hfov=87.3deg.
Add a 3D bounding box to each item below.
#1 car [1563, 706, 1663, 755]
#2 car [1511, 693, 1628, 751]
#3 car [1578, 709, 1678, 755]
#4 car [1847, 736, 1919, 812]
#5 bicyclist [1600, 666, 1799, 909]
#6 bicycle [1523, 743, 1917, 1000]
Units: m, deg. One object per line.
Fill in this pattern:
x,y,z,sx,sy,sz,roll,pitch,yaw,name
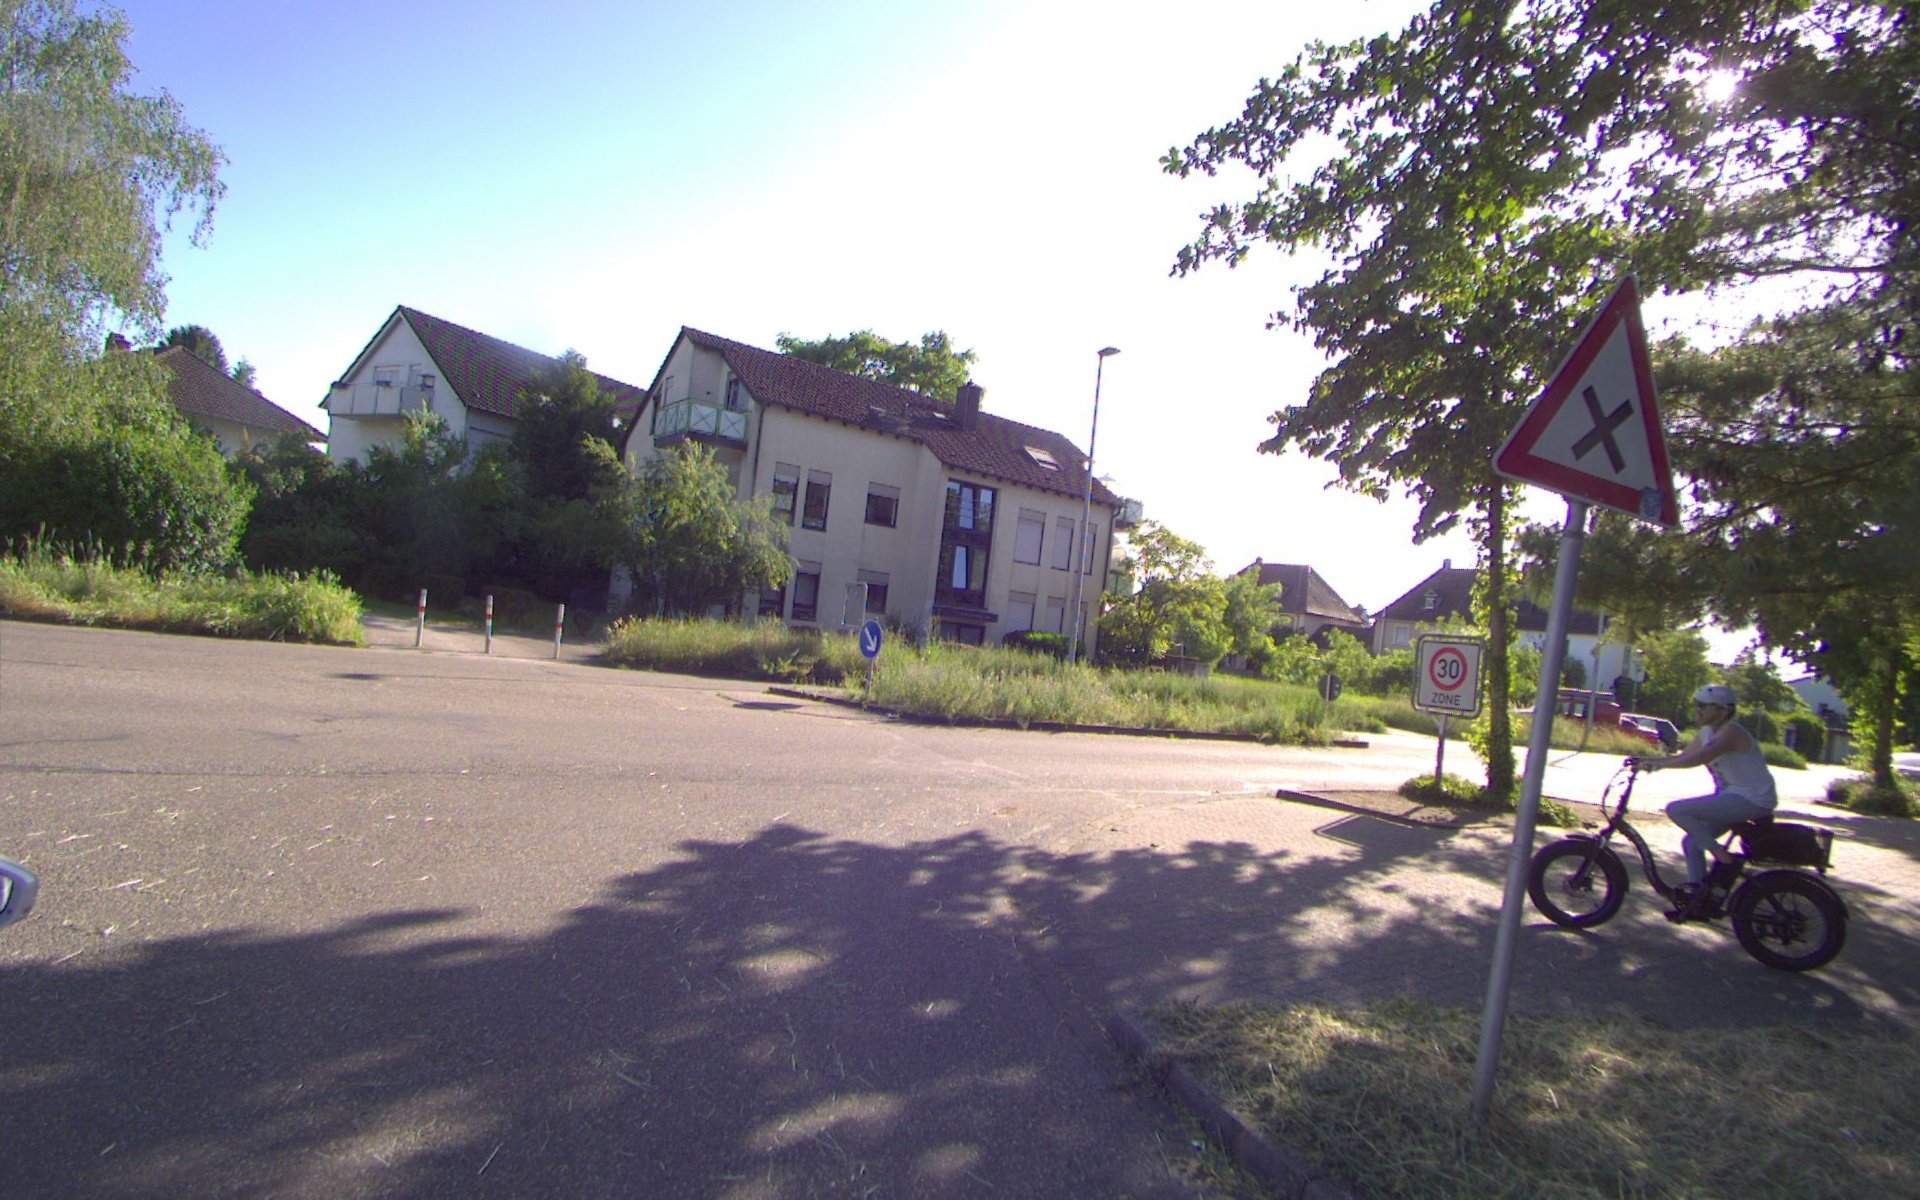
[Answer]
27.381,5.443,42.275,3.340,1.459,1.612,6,-1,33,car
24.636,4.906,40.802,3.582,1.737,1.749,7,-1,19,car
29.300,5.776,44.218,3.478,1.433,1.677,6,-1,33,car
25.212,4.627,26.633,3.972,1.678,1.978,8,-1,-41,car
4.747,1.163,6.522,0.824,1.364,0.638,6,0,27,bicyclist
4.788,1.673,6.501,1.865,1.159,0.458,7,0,27,bicycle
